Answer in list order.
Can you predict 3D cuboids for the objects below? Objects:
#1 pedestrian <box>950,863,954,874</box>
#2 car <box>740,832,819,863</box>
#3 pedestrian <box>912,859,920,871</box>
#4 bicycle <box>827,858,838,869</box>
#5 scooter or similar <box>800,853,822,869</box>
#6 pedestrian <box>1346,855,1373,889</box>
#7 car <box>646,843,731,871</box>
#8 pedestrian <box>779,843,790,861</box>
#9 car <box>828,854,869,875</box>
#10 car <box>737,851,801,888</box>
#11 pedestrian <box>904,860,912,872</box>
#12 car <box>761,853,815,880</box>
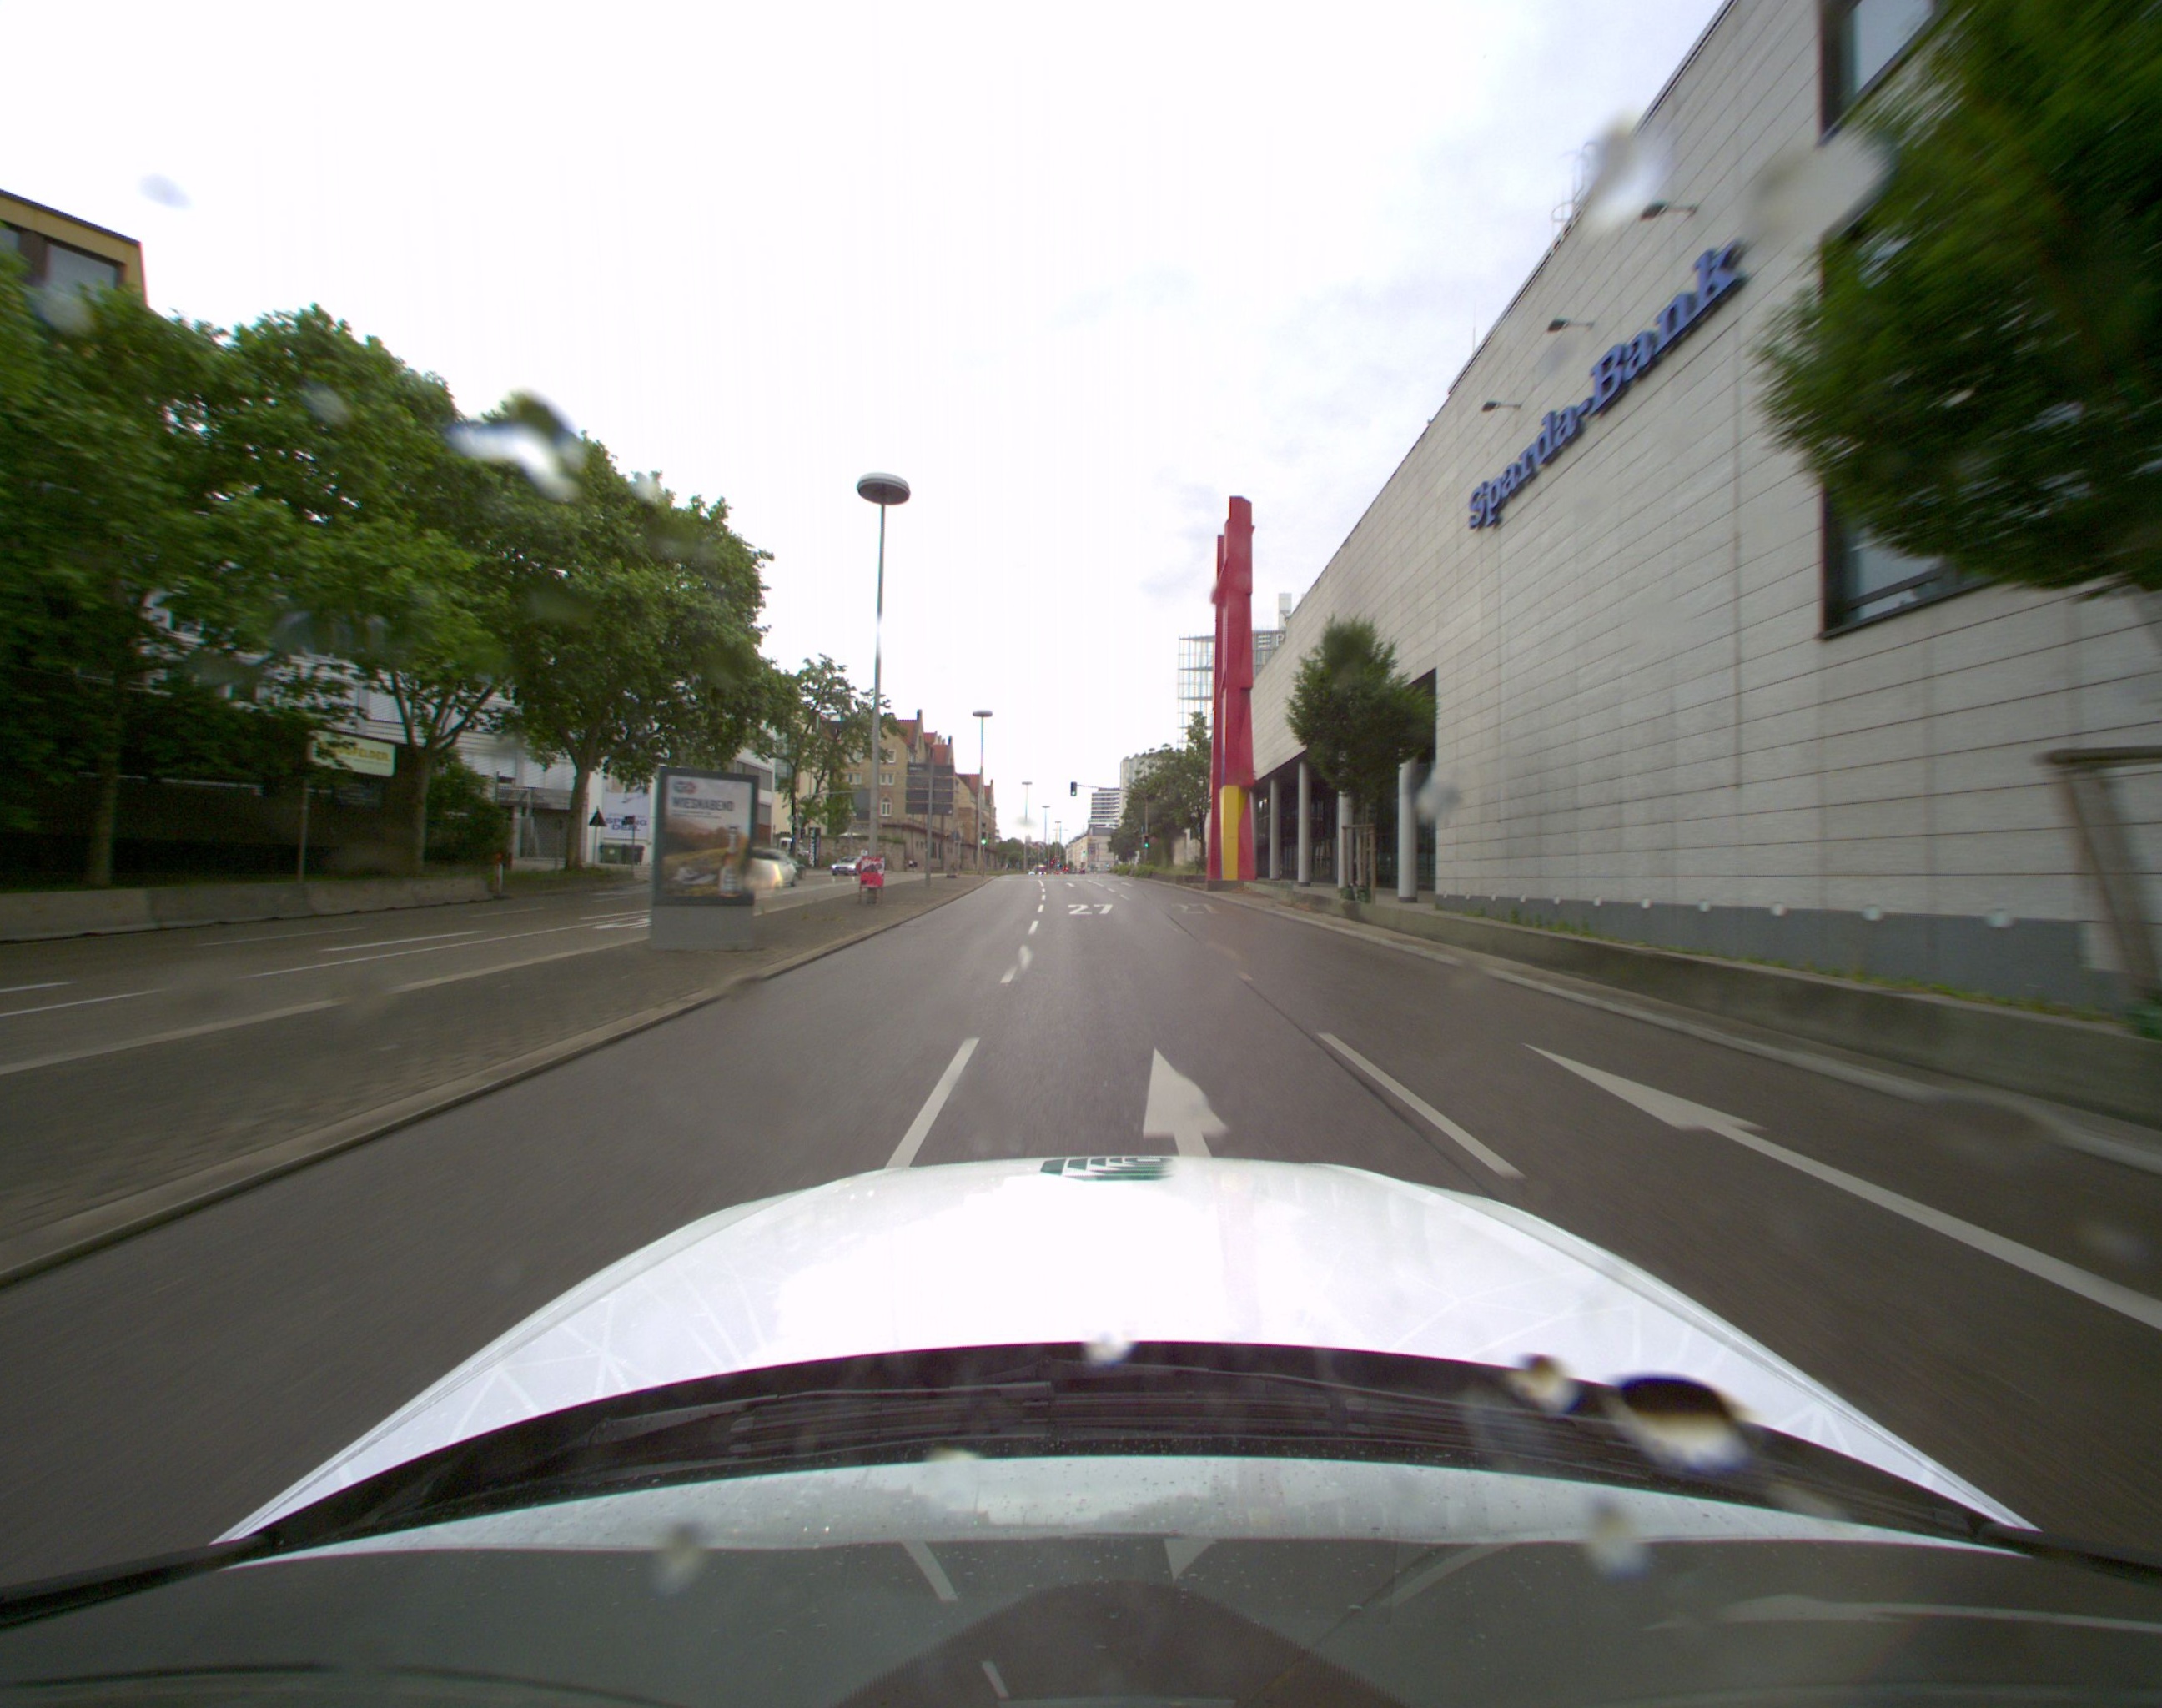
[{"bbox_3d":[-20.449,2.280,129.119,0.638,1.746,0.621,0,0,-1],"label":"pedestrian"},{"bbox_3d":[-30.961,-0.694,83.756,6.878,2.275,2.516,7,2,1],"label":"car"},{"bbox_3d":[-20.344,1.379,100.370,0.751,1.478,0.714,0,0,0],"label":"pedestrian"},{"bbox_3d":[-23.156,0.915,75.896,0.455,0.991,1.758,1,-1,1],"label":"bicycle"},{"bbox_3d":[-23.675,0.618,71.414,1.760,1.247,0.367,4,-3,-29],"label":"scooter or similar"},{"bbox_3d":[13.306,0.854,38.927,0.968,1.586,0.841,0,0,-3],"label":"pedestrian"},{"bbox_3d":[-27.183,0.257,56.556,1.974,1.654,4.872,2,-2,39],"label":"car"},{"bbox_3d":[-27.631,-0.177,75.883,0.766,1.641,0.841,0,0,0],"label":"pedestrian"},{"bbox_3d":[-17.173,0.755,60.483,1.990,1.447,4.873,0,0,-5],"label":"car"},{"bbox_3d":[-13.767,0.660,36.121,1.752,1.519,3.732,0,0,-6],"label":"car"},{"bbox_3d":[-21.278,1.443,100.082,0.751,1.478,0.714,0,0,0],"label":"pedestrian"},{"bbox_3d":[-16.887,0.696,47.108,1.749,1.519,4.167,0,0,-2],"label":"car"}]
